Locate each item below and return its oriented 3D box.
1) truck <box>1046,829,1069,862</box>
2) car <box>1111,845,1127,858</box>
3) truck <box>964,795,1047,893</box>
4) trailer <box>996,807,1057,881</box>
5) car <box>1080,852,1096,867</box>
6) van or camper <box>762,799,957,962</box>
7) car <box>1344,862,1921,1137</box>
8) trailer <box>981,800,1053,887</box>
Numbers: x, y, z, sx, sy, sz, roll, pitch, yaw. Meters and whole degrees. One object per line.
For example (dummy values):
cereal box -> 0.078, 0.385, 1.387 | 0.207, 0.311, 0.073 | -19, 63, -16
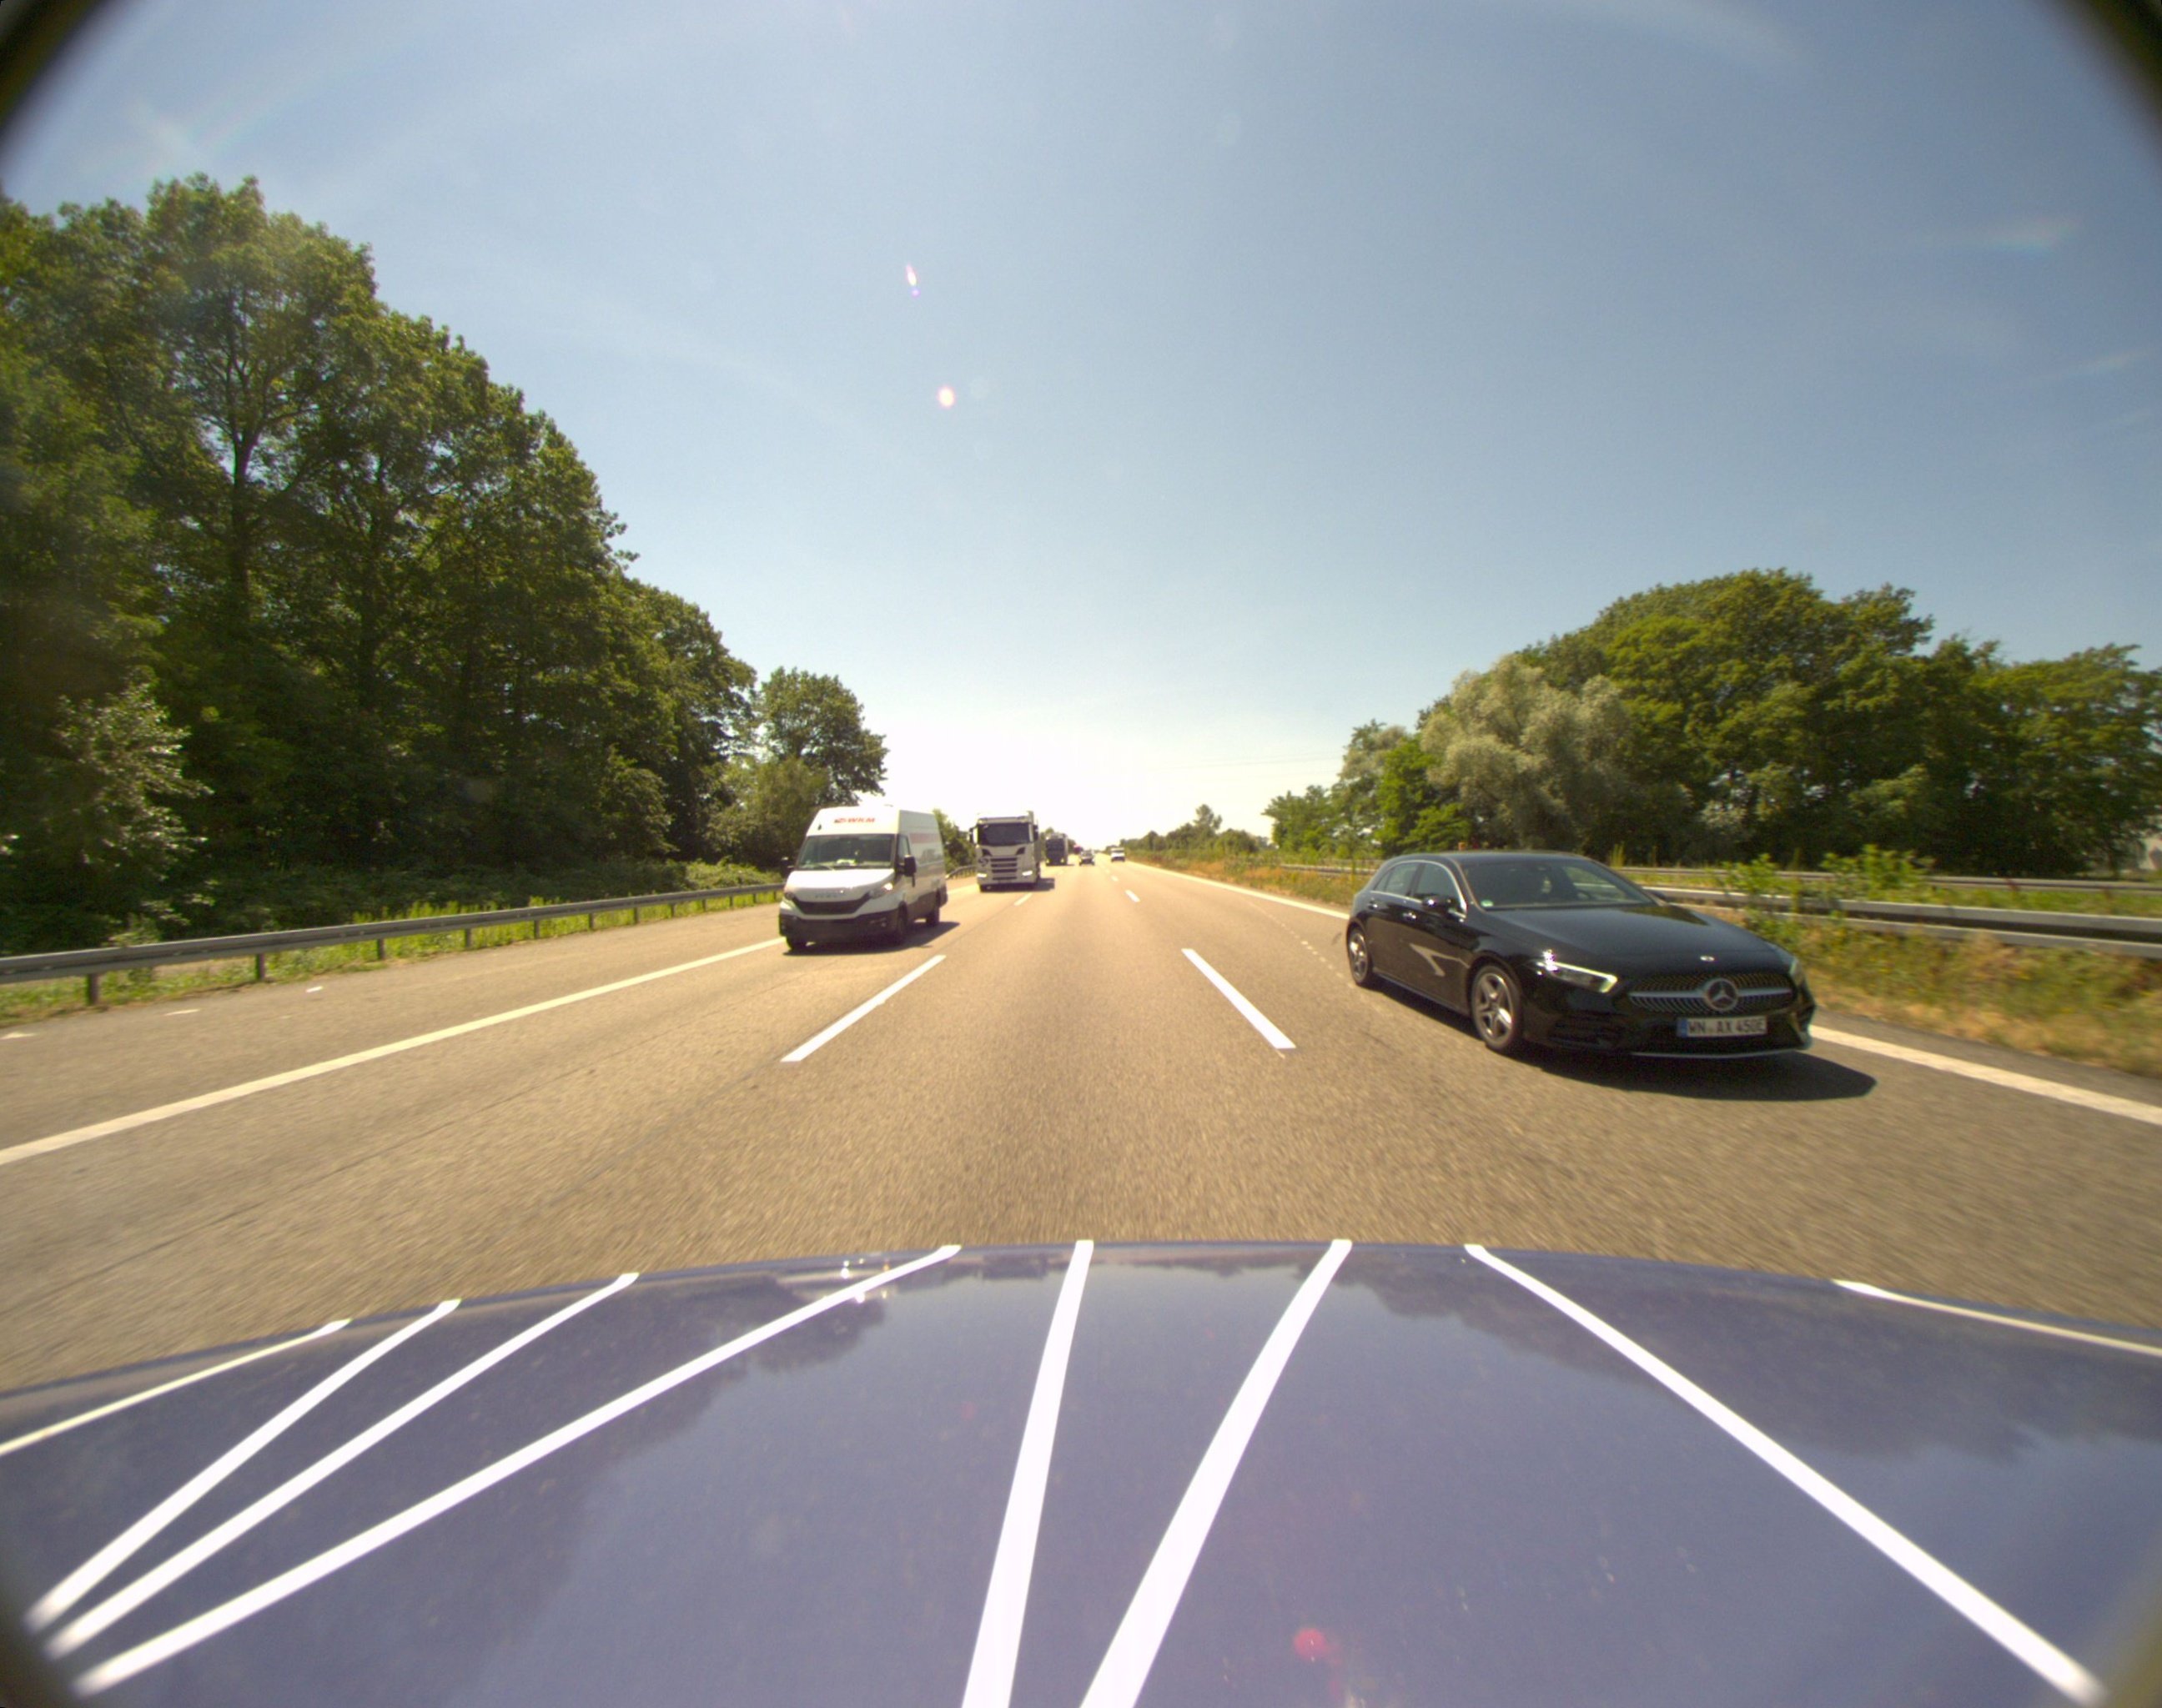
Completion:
truck -> -2.894, -1.073, 95.518 | 2.559, 3.932, 6.513 | -2, 1, 1
car -> 5.554, -0.437, 111.494 | 2.147, 1.810, 5.267 | -2, 1, 1
truck -> -3.321, -0.463, 35.294 | 2.896, 4.007, 6.869 | -2, 1, 1
trailer -> -3.166, -0.607, 46.630 | 2.952, 4.039, 8.127 | -2, 1, 0
car -> 0.873, 0.661, 88.899 | 1.796, 1.696, 4.000 | 1, 1, 1
van or camper -> -4.191, 0.417, 15.821 | 2.027, 2.622, 6.486 | -2, 1, 0
car -> 3.749, 0.828, 6.224 | 1.796, 1.403, 4.052 | -2, 0, 1
trailer -> -3.188, -0.519, 39.735 | 2.927, 4.018, 7.316 | -2, 1, 0
